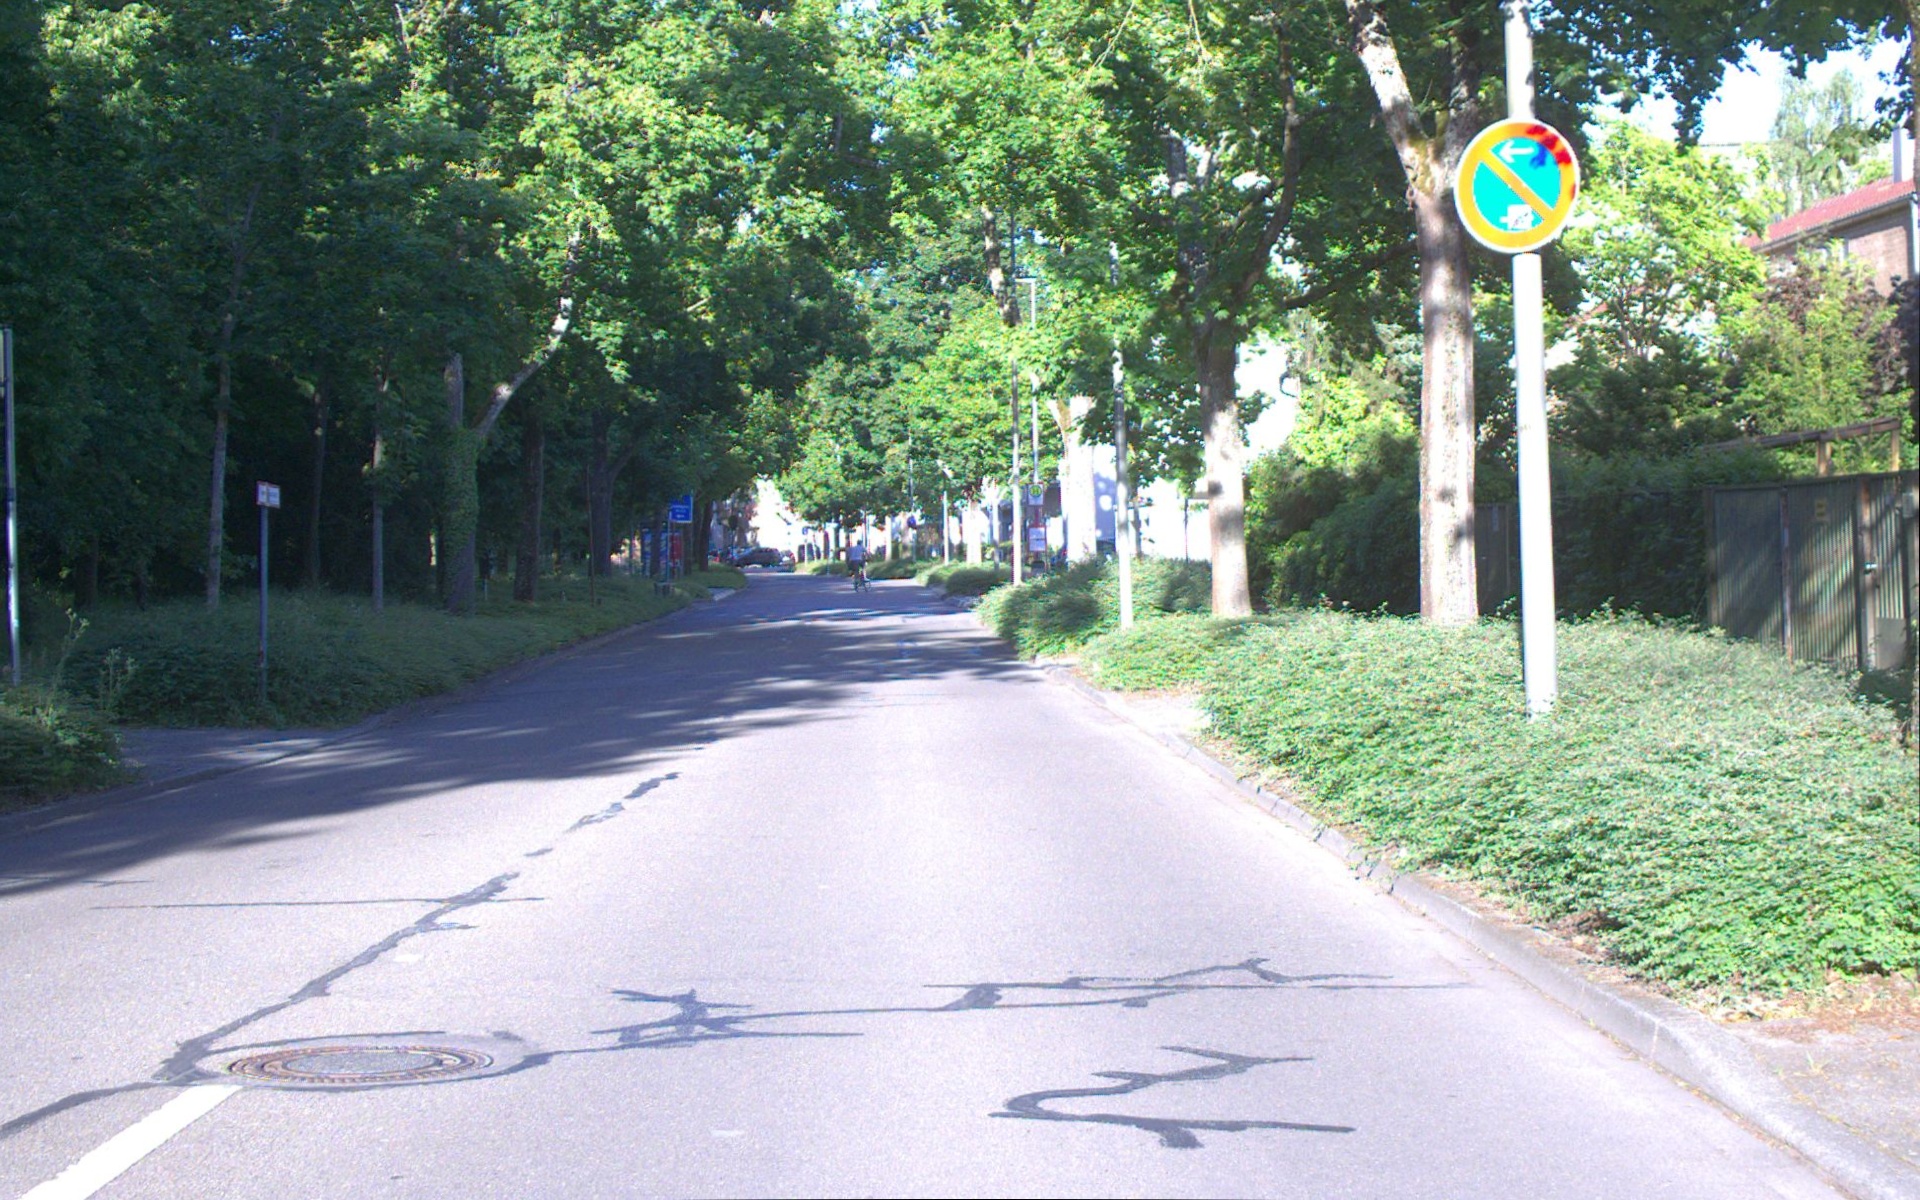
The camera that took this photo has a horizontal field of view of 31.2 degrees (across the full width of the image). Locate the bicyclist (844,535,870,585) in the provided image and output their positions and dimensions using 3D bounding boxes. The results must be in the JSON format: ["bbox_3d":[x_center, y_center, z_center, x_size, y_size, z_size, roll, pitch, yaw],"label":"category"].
[{"bbox_3d":[-3.430,-1.330,114.399,0.867,1.635,1.115,0,2,-2],"label":"bicyclist"}]

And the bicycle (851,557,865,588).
[{"bbox_3d":[-3.393,-0.924,114.362,0.439,0.975,1.661,-1,2,-2],"label":"bicycle"}]

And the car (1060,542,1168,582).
[{"bbox_3d":[6.446,-1.577,143.393,4.351,1.349,2.143,3,4,5],"label":"car"}]
